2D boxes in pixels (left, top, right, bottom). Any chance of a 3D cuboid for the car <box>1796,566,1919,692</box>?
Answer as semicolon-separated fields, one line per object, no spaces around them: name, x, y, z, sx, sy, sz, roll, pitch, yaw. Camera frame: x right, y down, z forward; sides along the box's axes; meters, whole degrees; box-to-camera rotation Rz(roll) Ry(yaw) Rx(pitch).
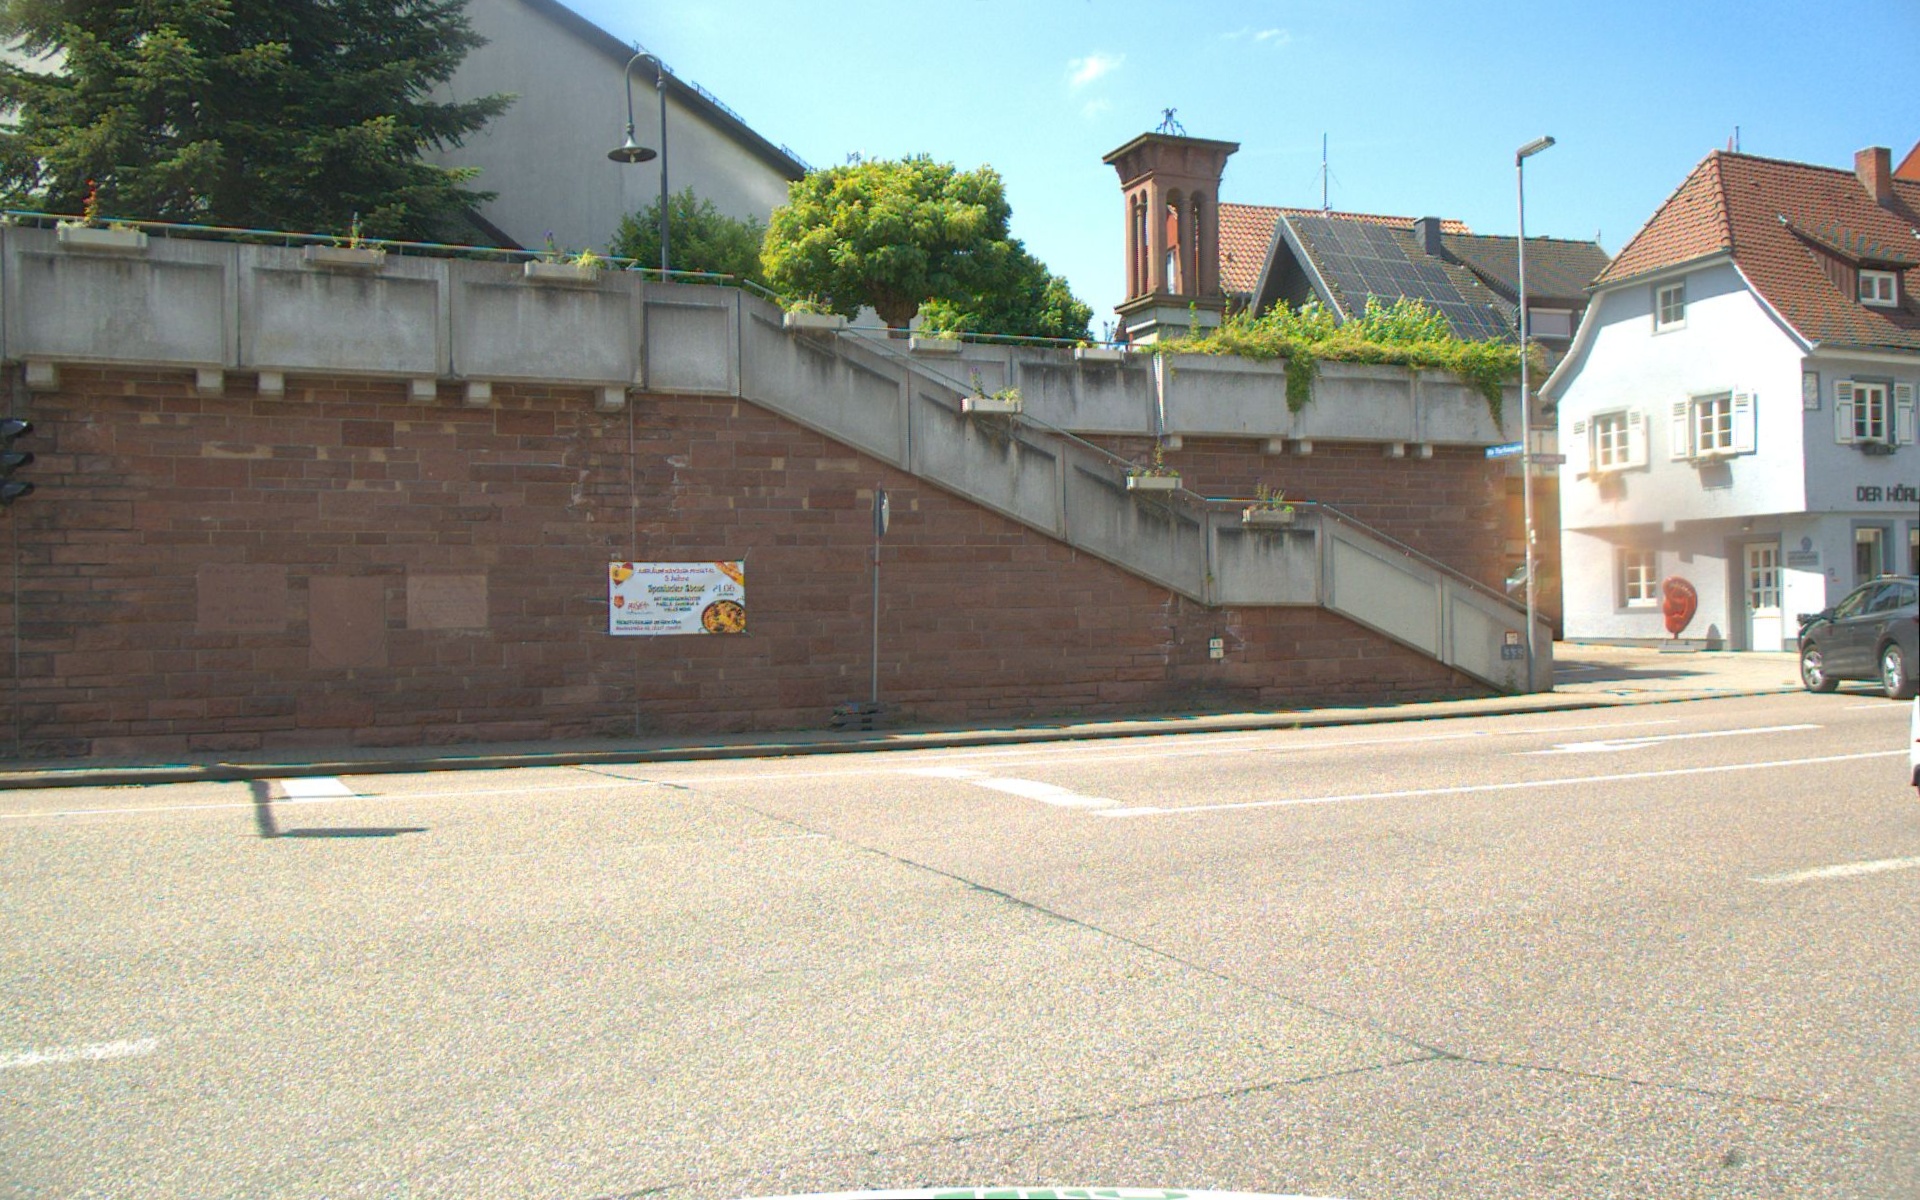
car;13.458;0.369;23.003;1.908;1.610;4.329;0;0;7

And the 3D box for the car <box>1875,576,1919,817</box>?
car;7.798;0.571;10.786;3.820;1.484;1.766;0;-1;-36

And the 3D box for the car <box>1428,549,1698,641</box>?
car;14.841;-0.119;40.814;5.879;2.049;2.514;-1;-2;-16

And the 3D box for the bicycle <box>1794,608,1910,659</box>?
bicycle;16.509;0.609;30.653;1.778;0.915;0.649;0;0;11
